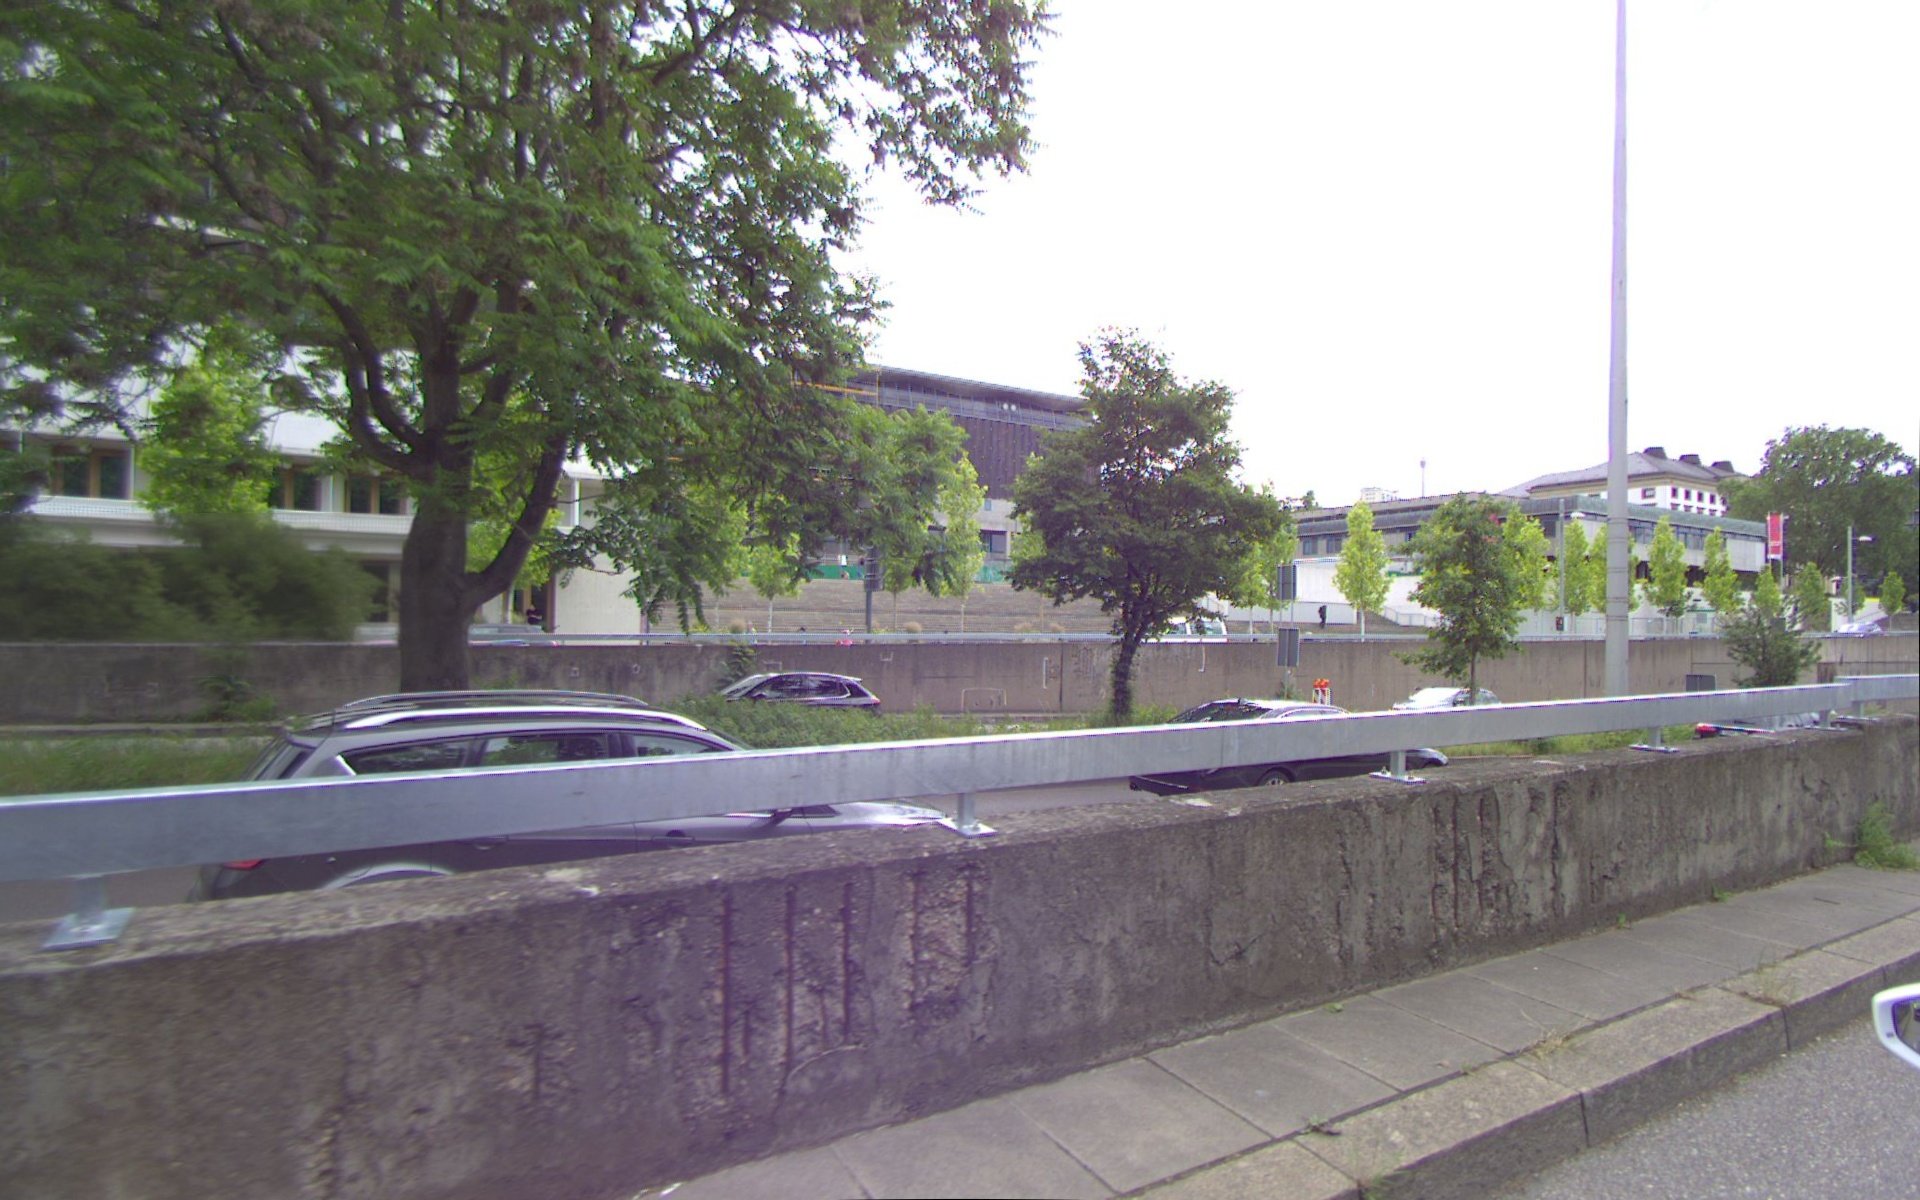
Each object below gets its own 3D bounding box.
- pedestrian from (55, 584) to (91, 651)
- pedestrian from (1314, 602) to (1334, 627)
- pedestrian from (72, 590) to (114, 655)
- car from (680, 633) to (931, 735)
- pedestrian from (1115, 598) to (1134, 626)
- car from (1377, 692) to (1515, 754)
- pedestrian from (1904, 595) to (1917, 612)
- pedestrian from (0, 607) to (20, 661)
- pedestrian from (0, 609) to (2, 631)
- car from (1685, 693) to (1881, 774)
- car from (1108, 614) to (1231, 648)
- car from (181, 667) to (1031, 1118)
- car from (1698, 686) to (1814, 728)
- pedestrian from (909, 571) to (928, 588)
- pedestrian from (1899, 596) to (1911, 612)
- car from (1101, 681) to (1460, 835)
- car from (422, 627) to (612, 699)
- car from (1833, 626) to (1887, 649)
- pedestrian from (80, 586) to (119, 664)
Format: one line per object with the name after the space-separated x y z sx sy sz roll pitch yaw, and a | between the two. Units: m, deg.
-28.089 0.568 31.818 0.623 2.038 0.630 2 -9 -29 | pedestrian
24.680 0.984 68.106 0.991 1.662 0.638 2 6 -30 | pedestrian
-28.293 0.751 32.798 0.729 2.037 0.709 1 -9 -25 | pedestrian
-2.707 1.425 17.828 3.958 1.506 1.889 2 1 -34 | car
10.177 0.722 62.143 0.849 1.662 0.638 2 4 -30 | pedestrian
15.439 3.833 31.831 4.533 1.559 1.867 2 1 -34 | car
100.612 0.337 106.324 0.629 1.752 0.695 2 1 -2 | pedestrian
-28.140 0.966 29.159 0.622 1.542 0.913 -1 -7 18 | pedestrian
-28.899 0.988 29.436 0.622 1.542 0.913 -1 -6 18 | pedestrian
18.917 2.992 23.050 4.804 1.479 1.804 2 0 -29 | car
8.219 1.209 39.293 4.754 1.133 1.799 2 1 -31 | car
-1.951 1.402 6.421 4.609 1.738 1.882 1 0 -34 | car
29.008 3.836 36.571 4.801 1.158 1.981 2 1 -35 | car
-2.483 -1.227 60.153 0.849 0.895 0.638 2 4 -30 | pedestrian
107.145 0.445 113.889 0.629 1.752 0.694 2 1 -6 | pedestrian
4.356 1.949 13.420 4.755 1.502 1.983 1 -1 -32 | car
-11.567 1.614 26.304 4.341 1.740 1.848 2 -2 -31 | car
60.039 2.525 67.017 3.830 1.378 1.820 2 1 -35 | car
-23.010 0.655 26.860 0.623 2.040 0.629 2 1 -29 | pedestrian
